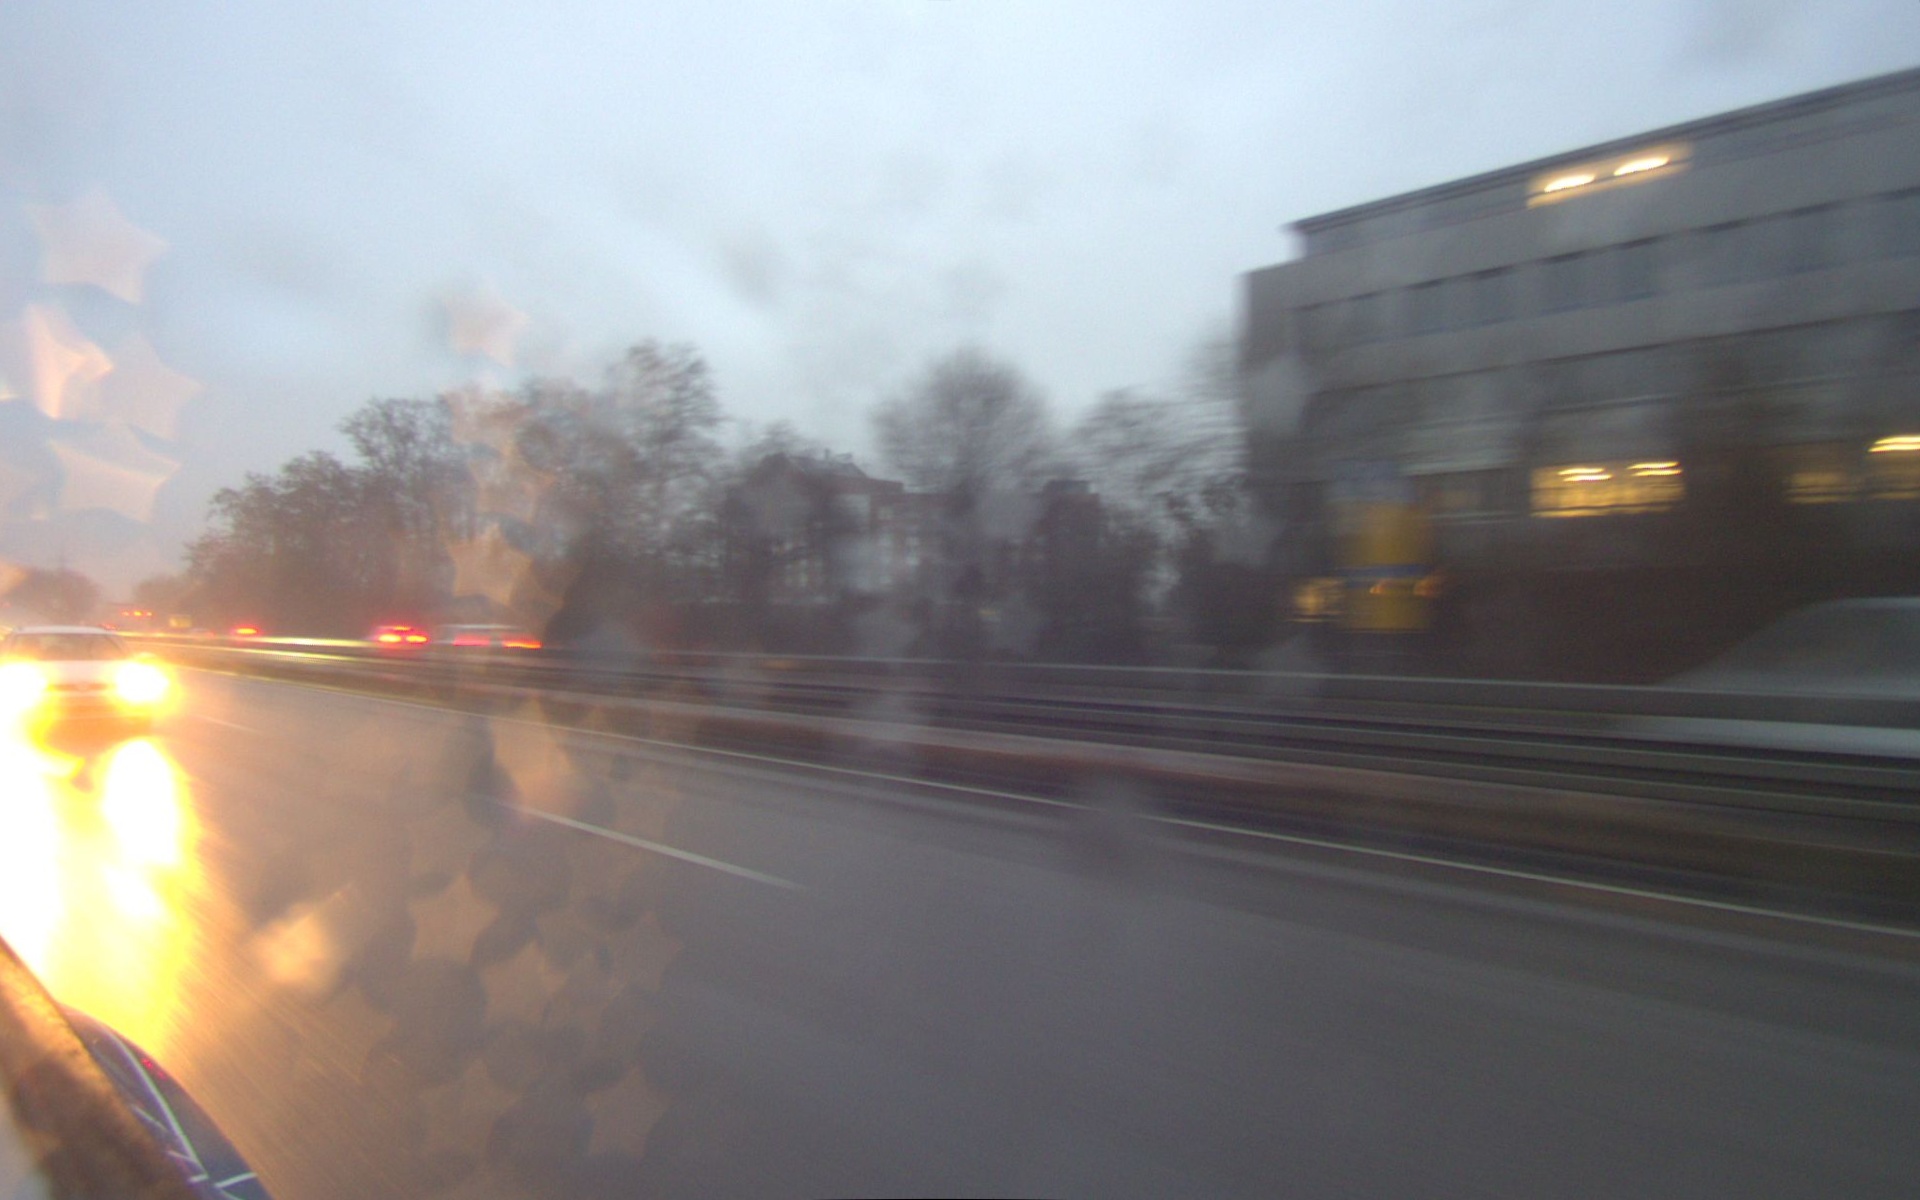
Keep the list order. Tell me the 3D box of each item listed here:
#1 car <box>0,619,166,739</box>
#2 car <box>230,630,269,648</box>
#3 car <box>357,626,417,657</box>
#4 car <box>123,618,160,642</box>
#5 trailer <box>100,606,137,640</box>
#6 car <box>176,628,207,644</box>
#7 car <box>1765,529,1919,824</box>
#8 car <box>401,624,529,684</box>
[{"bbox_3d":[-13.500,1.079,15.169,4.789,1.532,1.925,-2,-3,45],"label":"car"},{"bbox_3d":[-54.568,2.998,77.709,4.687,1.281,1.528,-1,0,43],"label":"car"},{"bbox_3d":[-30.552,2.169,53.890,4.541,1.524,1.528,-1,-1,43],"label":"car"},{"bbox_3d":[-96.655,3.511,119.423,6.340,2.751,2.500,-1,0,43],"label":"car"},{"bbox_3d":[-126.579,3.412,152.142,3.448,4.884,13.494,-2,0,-43],"label":"trailer"},{"bbox_3d":[-68.919,3.204,90.720,4.258,1.331,1.528,-1,0,43],"label":"car"},{"bbox_3d":[9.307,0.577,7.490,5.050,2.299,1.953,-2,-2,44],"label":"car"},{"bbox_3d":[-15.079,1.586,30.735,4.666,1.669,1.823,-1,-2,41],"label":"car"}]
